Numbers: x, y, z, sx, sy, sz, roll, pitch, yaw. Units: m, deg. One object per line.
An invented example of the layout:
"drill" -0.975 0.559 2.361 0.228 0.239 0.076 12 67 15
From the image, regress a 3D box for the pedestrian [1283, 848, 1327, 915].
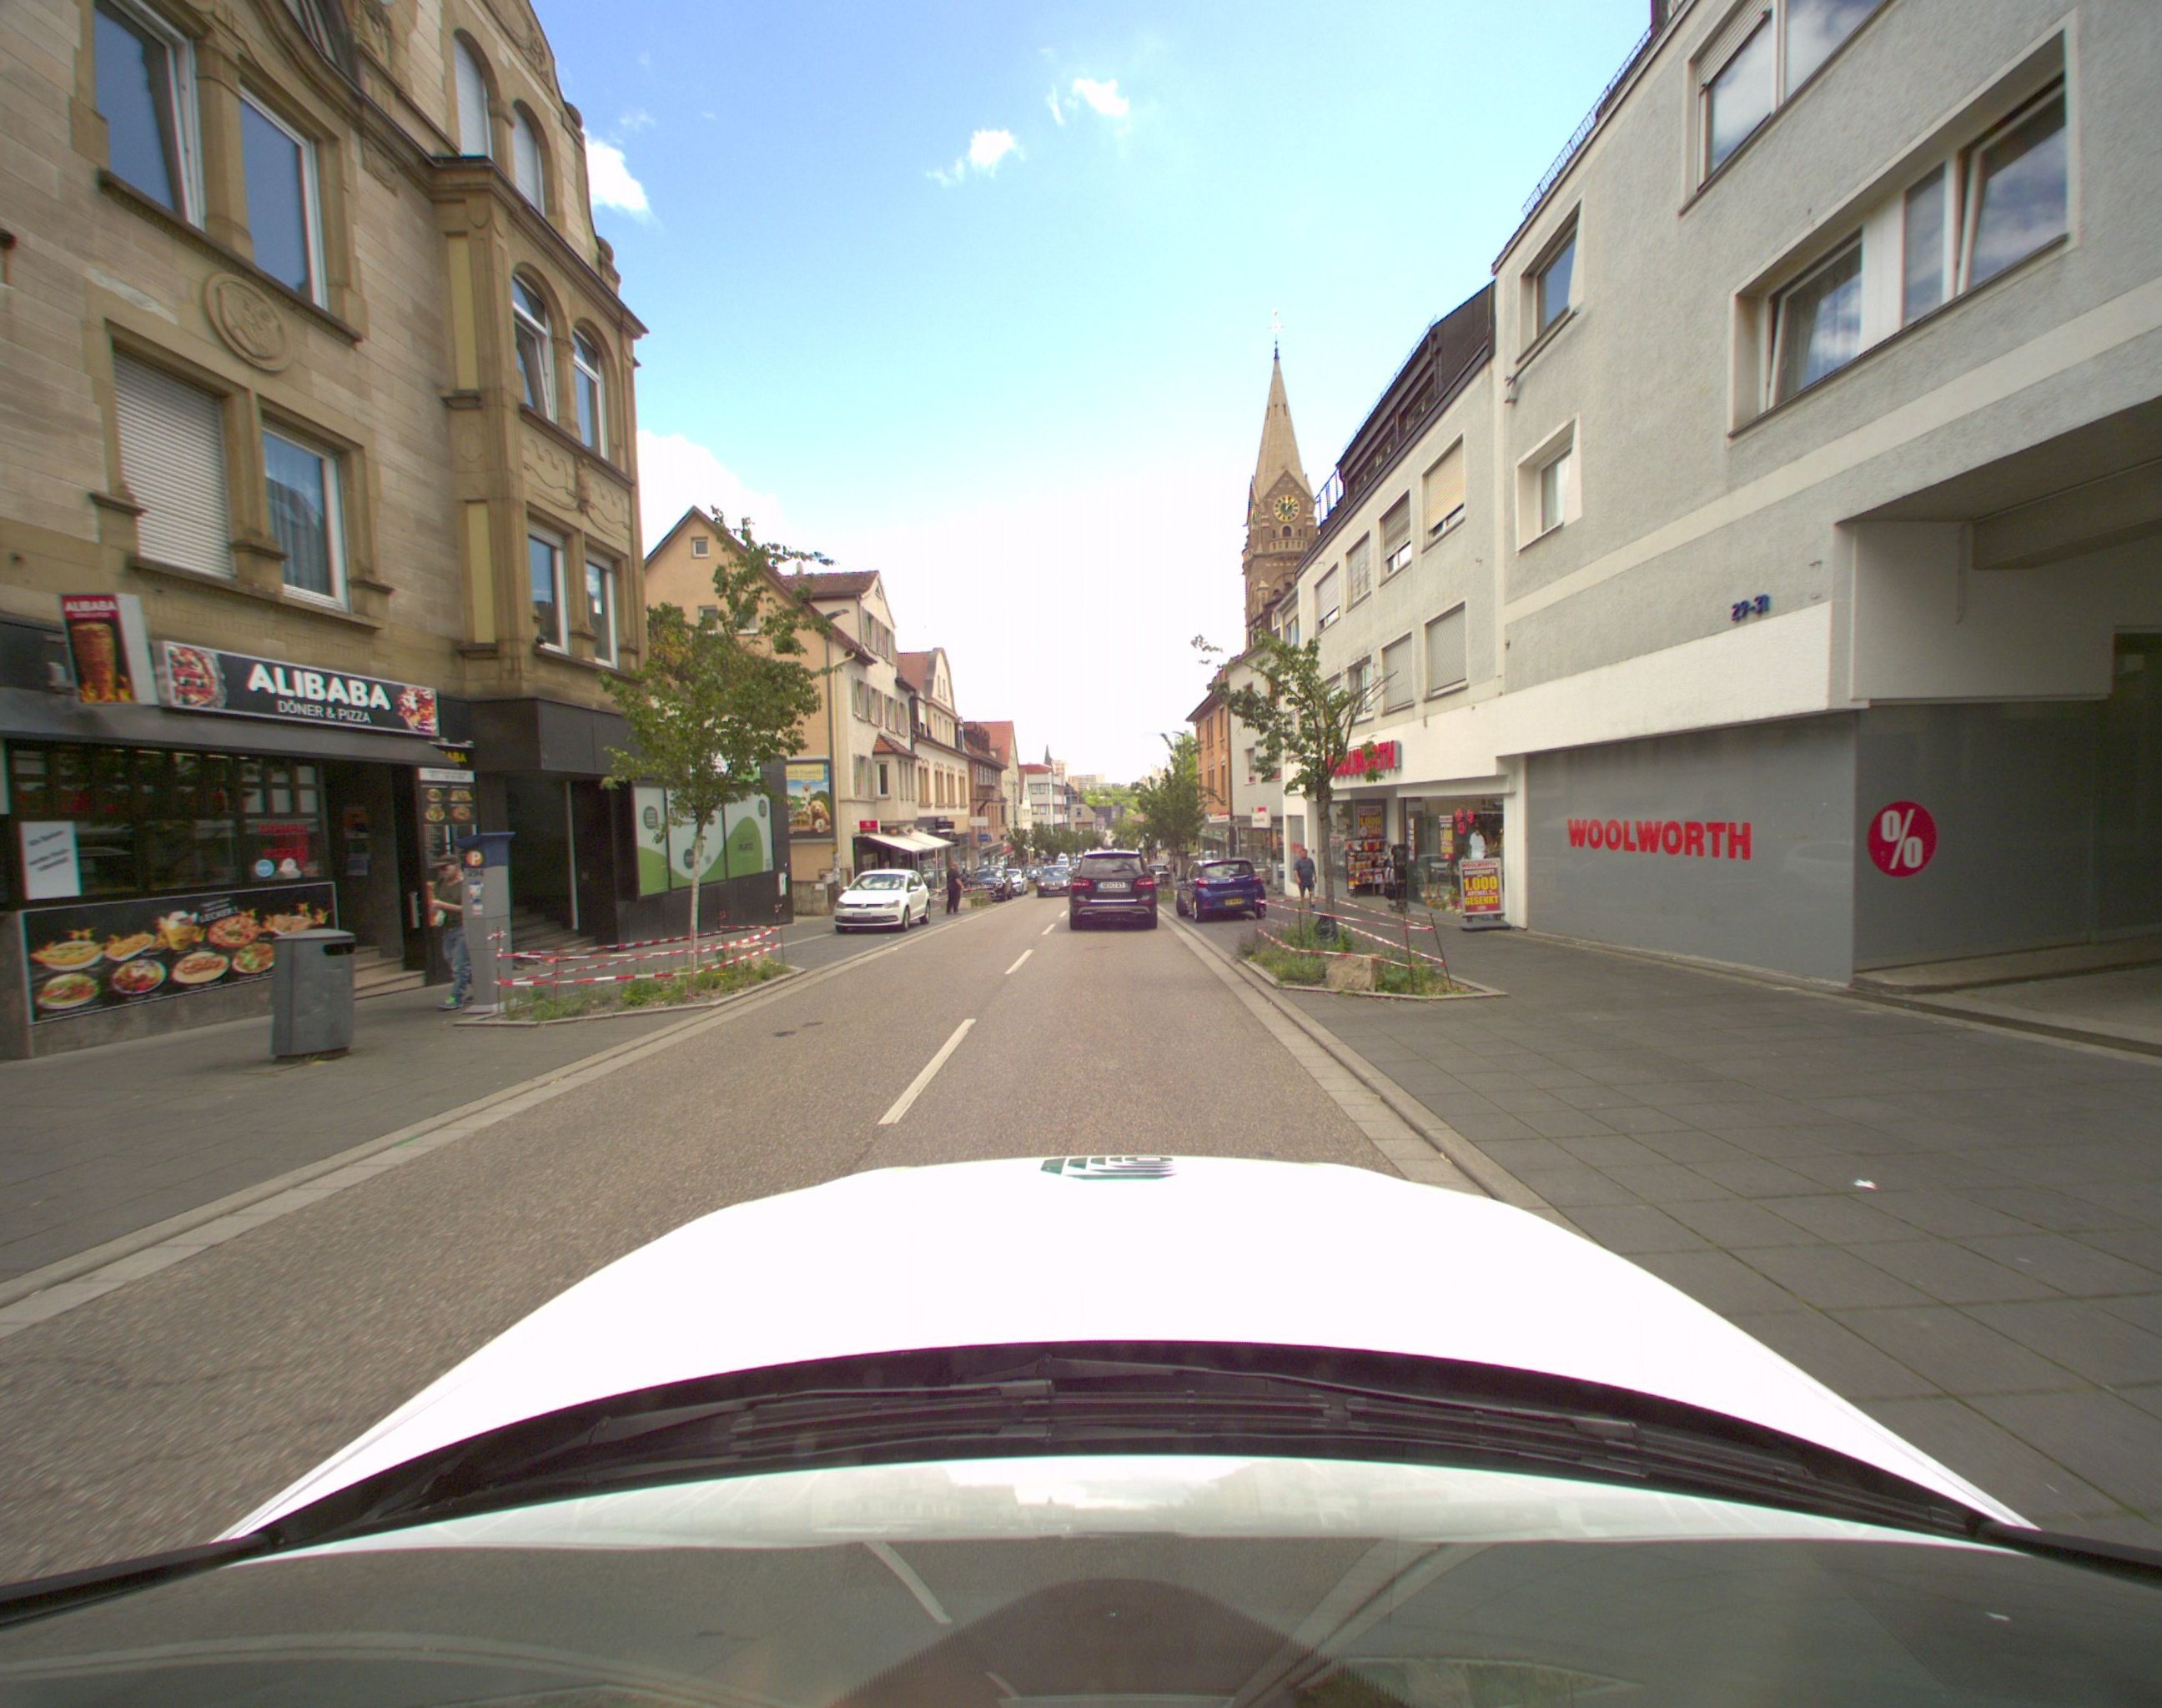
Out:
"pedestrian" 5.362 0.643 19.519 0.754 1.561 0.817 -2 0 -1

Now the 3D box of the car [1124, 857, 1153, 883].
"car" 4.520 1.245 64.880 1.931 1.891 4.707 -4 0 1

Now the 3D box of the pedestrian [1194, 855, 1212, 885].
"pedestrian" 6.771 0.905 45.173 0.733 1.585 1.000 -4 -1 0

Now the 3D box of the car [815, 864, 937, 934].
"car" -5.002 1.033 20.487 1.920 1.511 4.262 0 0 0

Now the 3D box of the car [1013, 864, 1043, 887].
"car" -3.824 1.537 58.872 1.921 1.496 4.259 -2 0 -1

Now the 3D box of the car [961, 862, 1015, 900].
"car" -4.224 1.216 37.671 1.920 1.621 4.639 0 -1 0

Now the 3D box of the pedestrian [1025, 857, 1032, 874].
"pedestrian" -5.203 1.100 80.465 0.639 1.667 0.720 -1 -1 0

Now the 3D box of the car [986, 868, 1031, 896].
"car" -3.985 1.521 45.399 1.919 1.430 4.264 -1 -1 2

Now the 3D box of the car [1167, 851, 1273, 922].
"car" 3.397 0.797 20.585 1.744 1.498 3.795 -4 -2 -3

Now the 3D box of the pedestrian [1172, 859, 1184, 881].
"pedestrian" 7.341 1.182 61.698 0.670 1.632 0.669 -4 -1 -1

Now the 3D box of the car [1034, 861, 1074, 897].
"car" -1.325 1.269 41.764 1.813 1.618 4.135 -4 -1 0

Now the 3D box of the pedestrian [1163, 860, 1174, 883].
"pedestrian" 6.621 1.310 61.474 0.670 1.632 0.669 -4 -1 -1

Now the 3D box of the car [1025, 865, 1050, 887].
"car" -3.497 1.763 66.366 1.921 1.595 4.455 1 0 -2

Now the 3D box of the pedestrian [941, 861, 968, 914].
"pedestrian" -4.090 1.061 26.393 0.735 1.672 0.862 -1 -1 -1

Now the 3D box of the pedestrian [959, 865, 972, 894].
"pedestrian" -6.445 1.438 45.415 0.545 1.576 0.863 -3 0 1

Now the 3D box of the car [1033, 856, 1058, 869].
"car" -5.776 1.411 134.199 3.977 1.750 1.998 -4 -1 -3

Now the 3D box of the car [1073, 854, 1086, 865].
"car" -0.192 0.873 123.766 1.919 1.628 4.264 1 0 2

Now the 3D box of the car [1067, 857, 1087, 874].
"car" -0.388 1.168 84.723 1.985 1.718 4.447 -1 0 1

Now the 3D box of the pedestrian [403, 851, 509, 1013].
"pedestrian" -6.907 0.832 9.031 0.584 1.713 0.710 0 -1 1

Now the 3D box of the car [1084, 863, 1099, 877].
"car" 1.393 2.059 105.776 1.758 1.617 4.033 -4 0 1

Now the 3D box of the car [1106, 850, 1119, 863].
"car" 6.043 0.547 156.091 2.163 2.364 4.630 -3 0 6

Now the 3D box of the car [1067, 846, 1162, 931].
"car" 0.767 0.706 19.000 1.936 1.740 4.181 -1 0 2

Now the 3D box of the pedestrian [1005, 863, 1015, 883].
"pedestrian" -5.860 1.569 67.221 0.724 1.667 0.720 -1 -1 0

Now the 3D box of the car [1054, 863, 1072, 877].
"car" -2.206 1.920 99.486 1.919 1.628 4.264 -1 0 2

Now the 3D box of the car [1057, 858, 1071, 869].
"car" -2.626 1.487 126.782 1.920 1.628 4.414 1 0 0

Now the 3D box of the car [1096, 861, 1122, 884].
"car" 2.122 1.379 62.366 1.919 1.628 4.264 1 0 2

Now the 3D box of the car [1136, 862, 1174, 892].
"car" 4.247 1.297 47.342 1.742 1.465 4.075 -5 0 1
